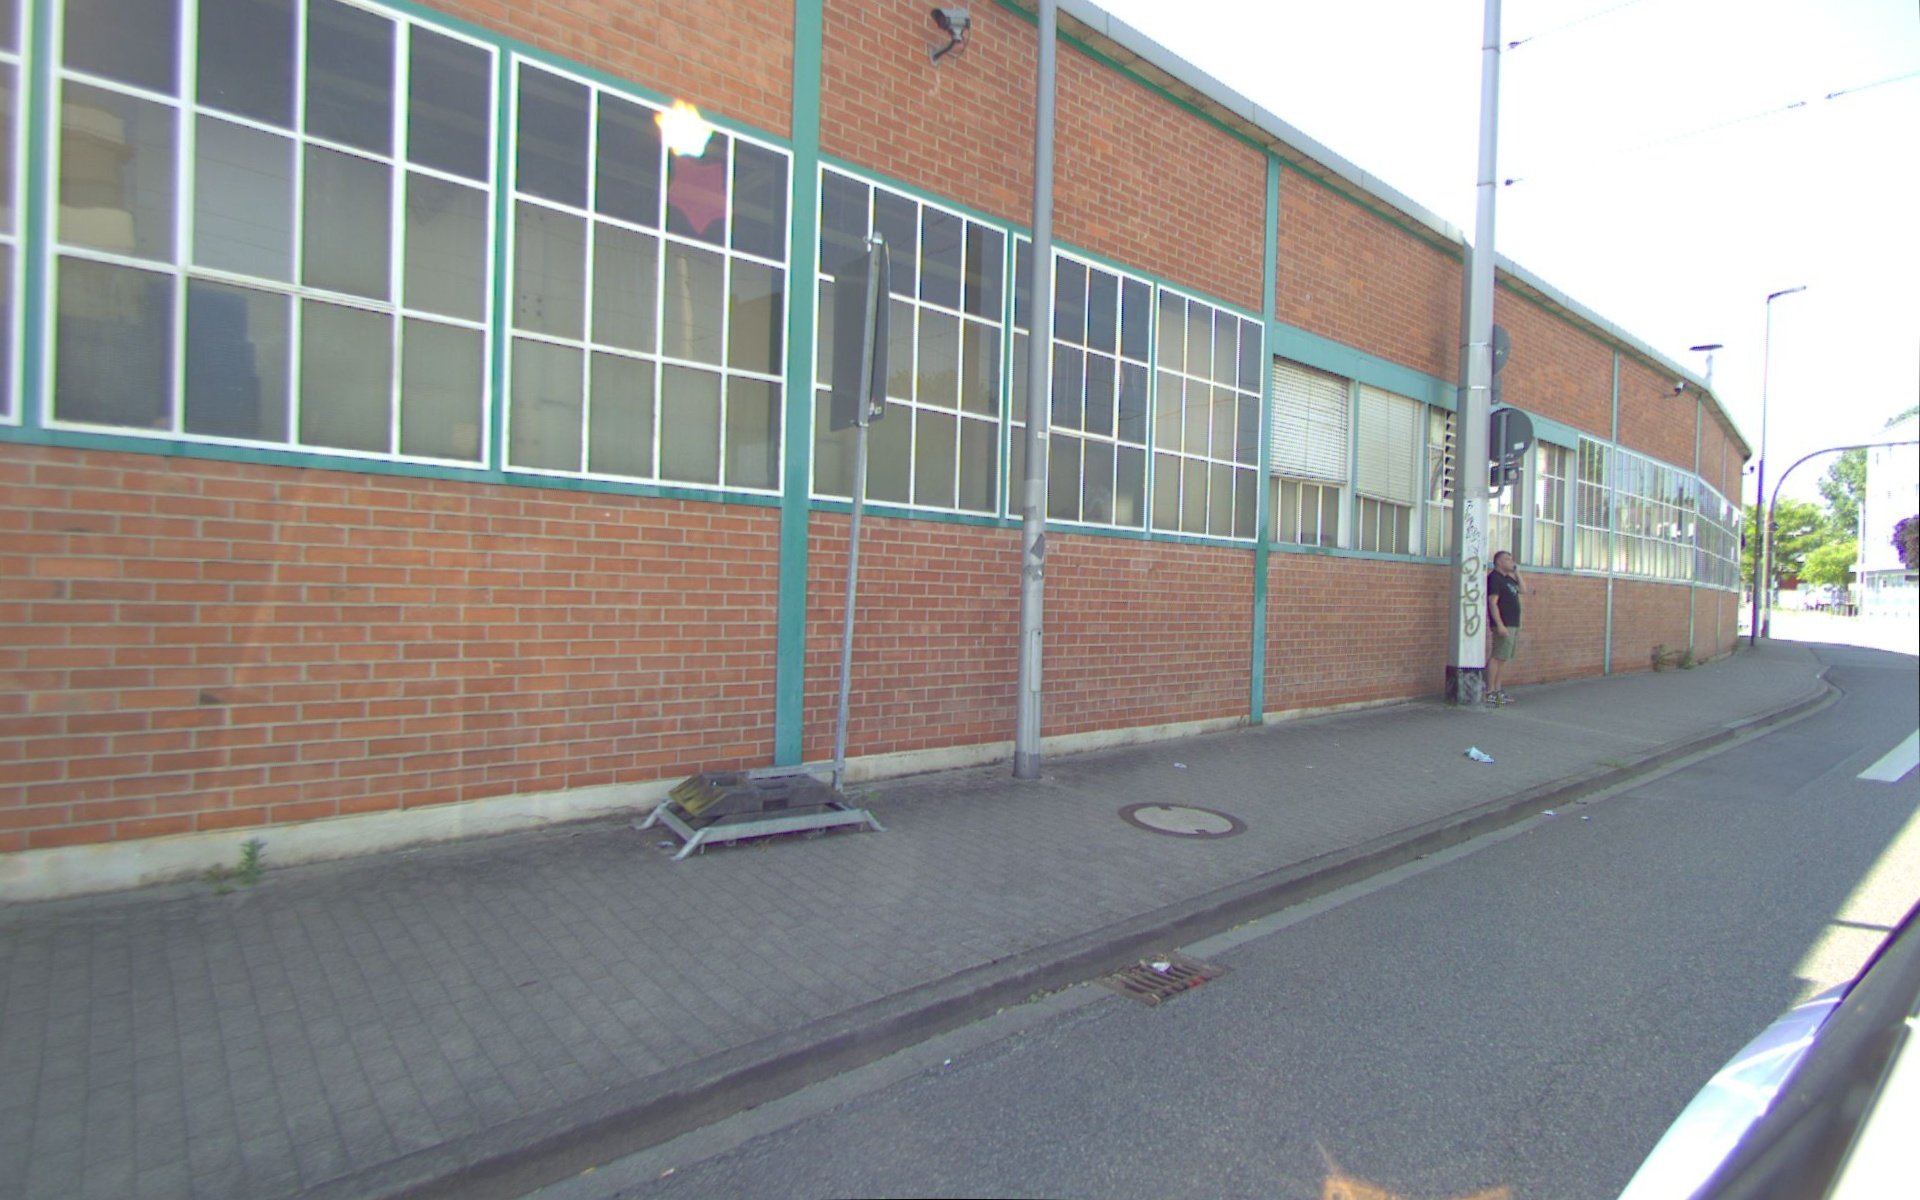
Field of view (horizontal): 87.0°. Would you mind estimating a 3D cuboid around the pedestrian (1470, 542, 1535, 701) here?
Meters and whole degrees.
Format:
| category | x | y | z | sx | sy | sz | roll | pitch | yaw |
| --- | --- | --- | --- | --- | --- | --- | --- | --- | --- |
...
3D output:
| category | x | y | z | sx | sy | sz | roll | pitch | yaw |
| --- | --- | --- | --- | --- | --- | --- | --- | --- | --- |
| pedestrian | 6.318 | 0.249 | 11.780 | 0.675 | 1.787 | 0.448 | 4 | -2 | -44 |
